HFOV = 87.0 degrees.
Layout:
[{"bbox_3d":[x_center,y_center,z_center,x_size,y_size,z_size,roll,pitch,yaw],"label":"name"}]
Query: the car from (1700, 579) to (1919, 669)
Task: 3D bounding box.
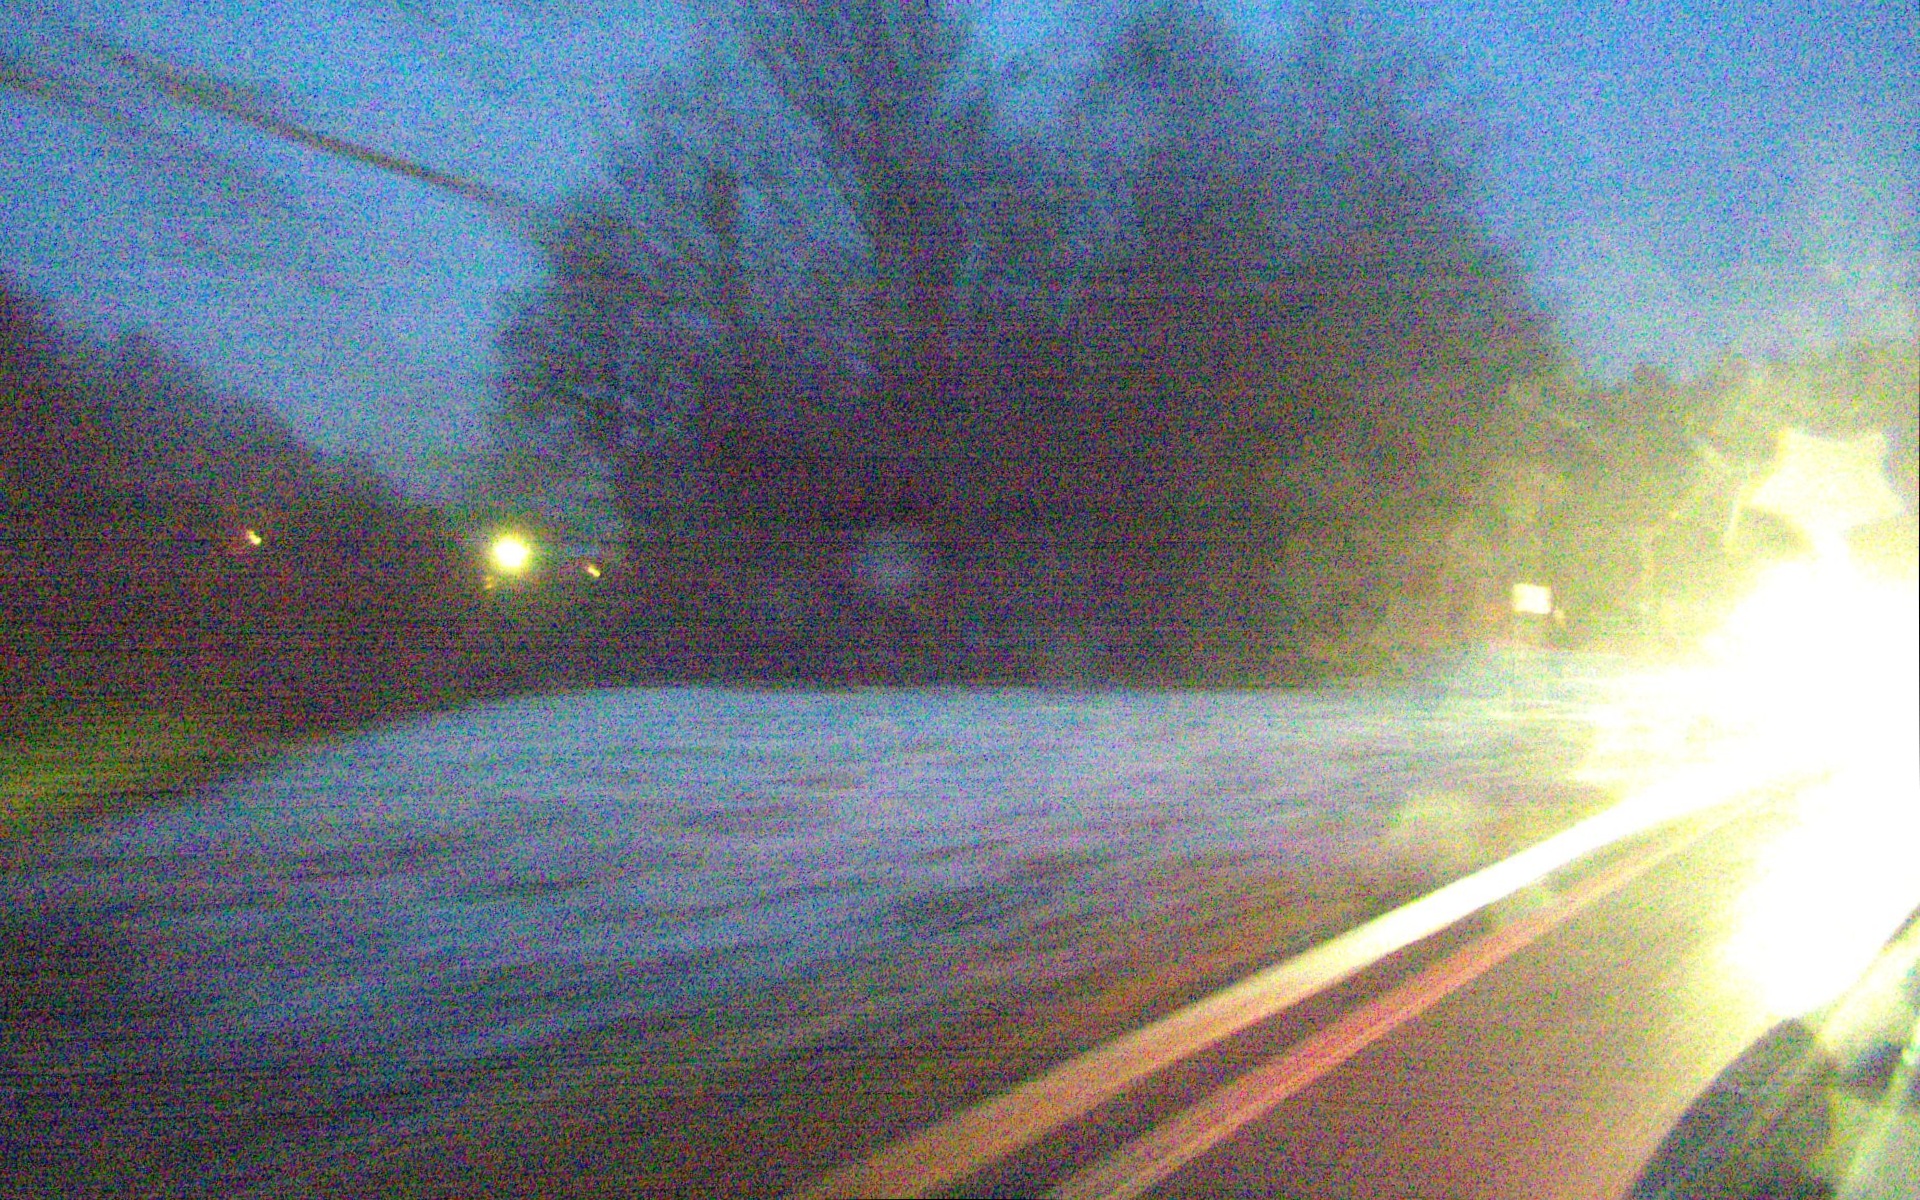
[{"bbox_3d":[18.492,0.445,22.098,1.931,1.712,4.757,-2,0,12],"label":"car"}]
